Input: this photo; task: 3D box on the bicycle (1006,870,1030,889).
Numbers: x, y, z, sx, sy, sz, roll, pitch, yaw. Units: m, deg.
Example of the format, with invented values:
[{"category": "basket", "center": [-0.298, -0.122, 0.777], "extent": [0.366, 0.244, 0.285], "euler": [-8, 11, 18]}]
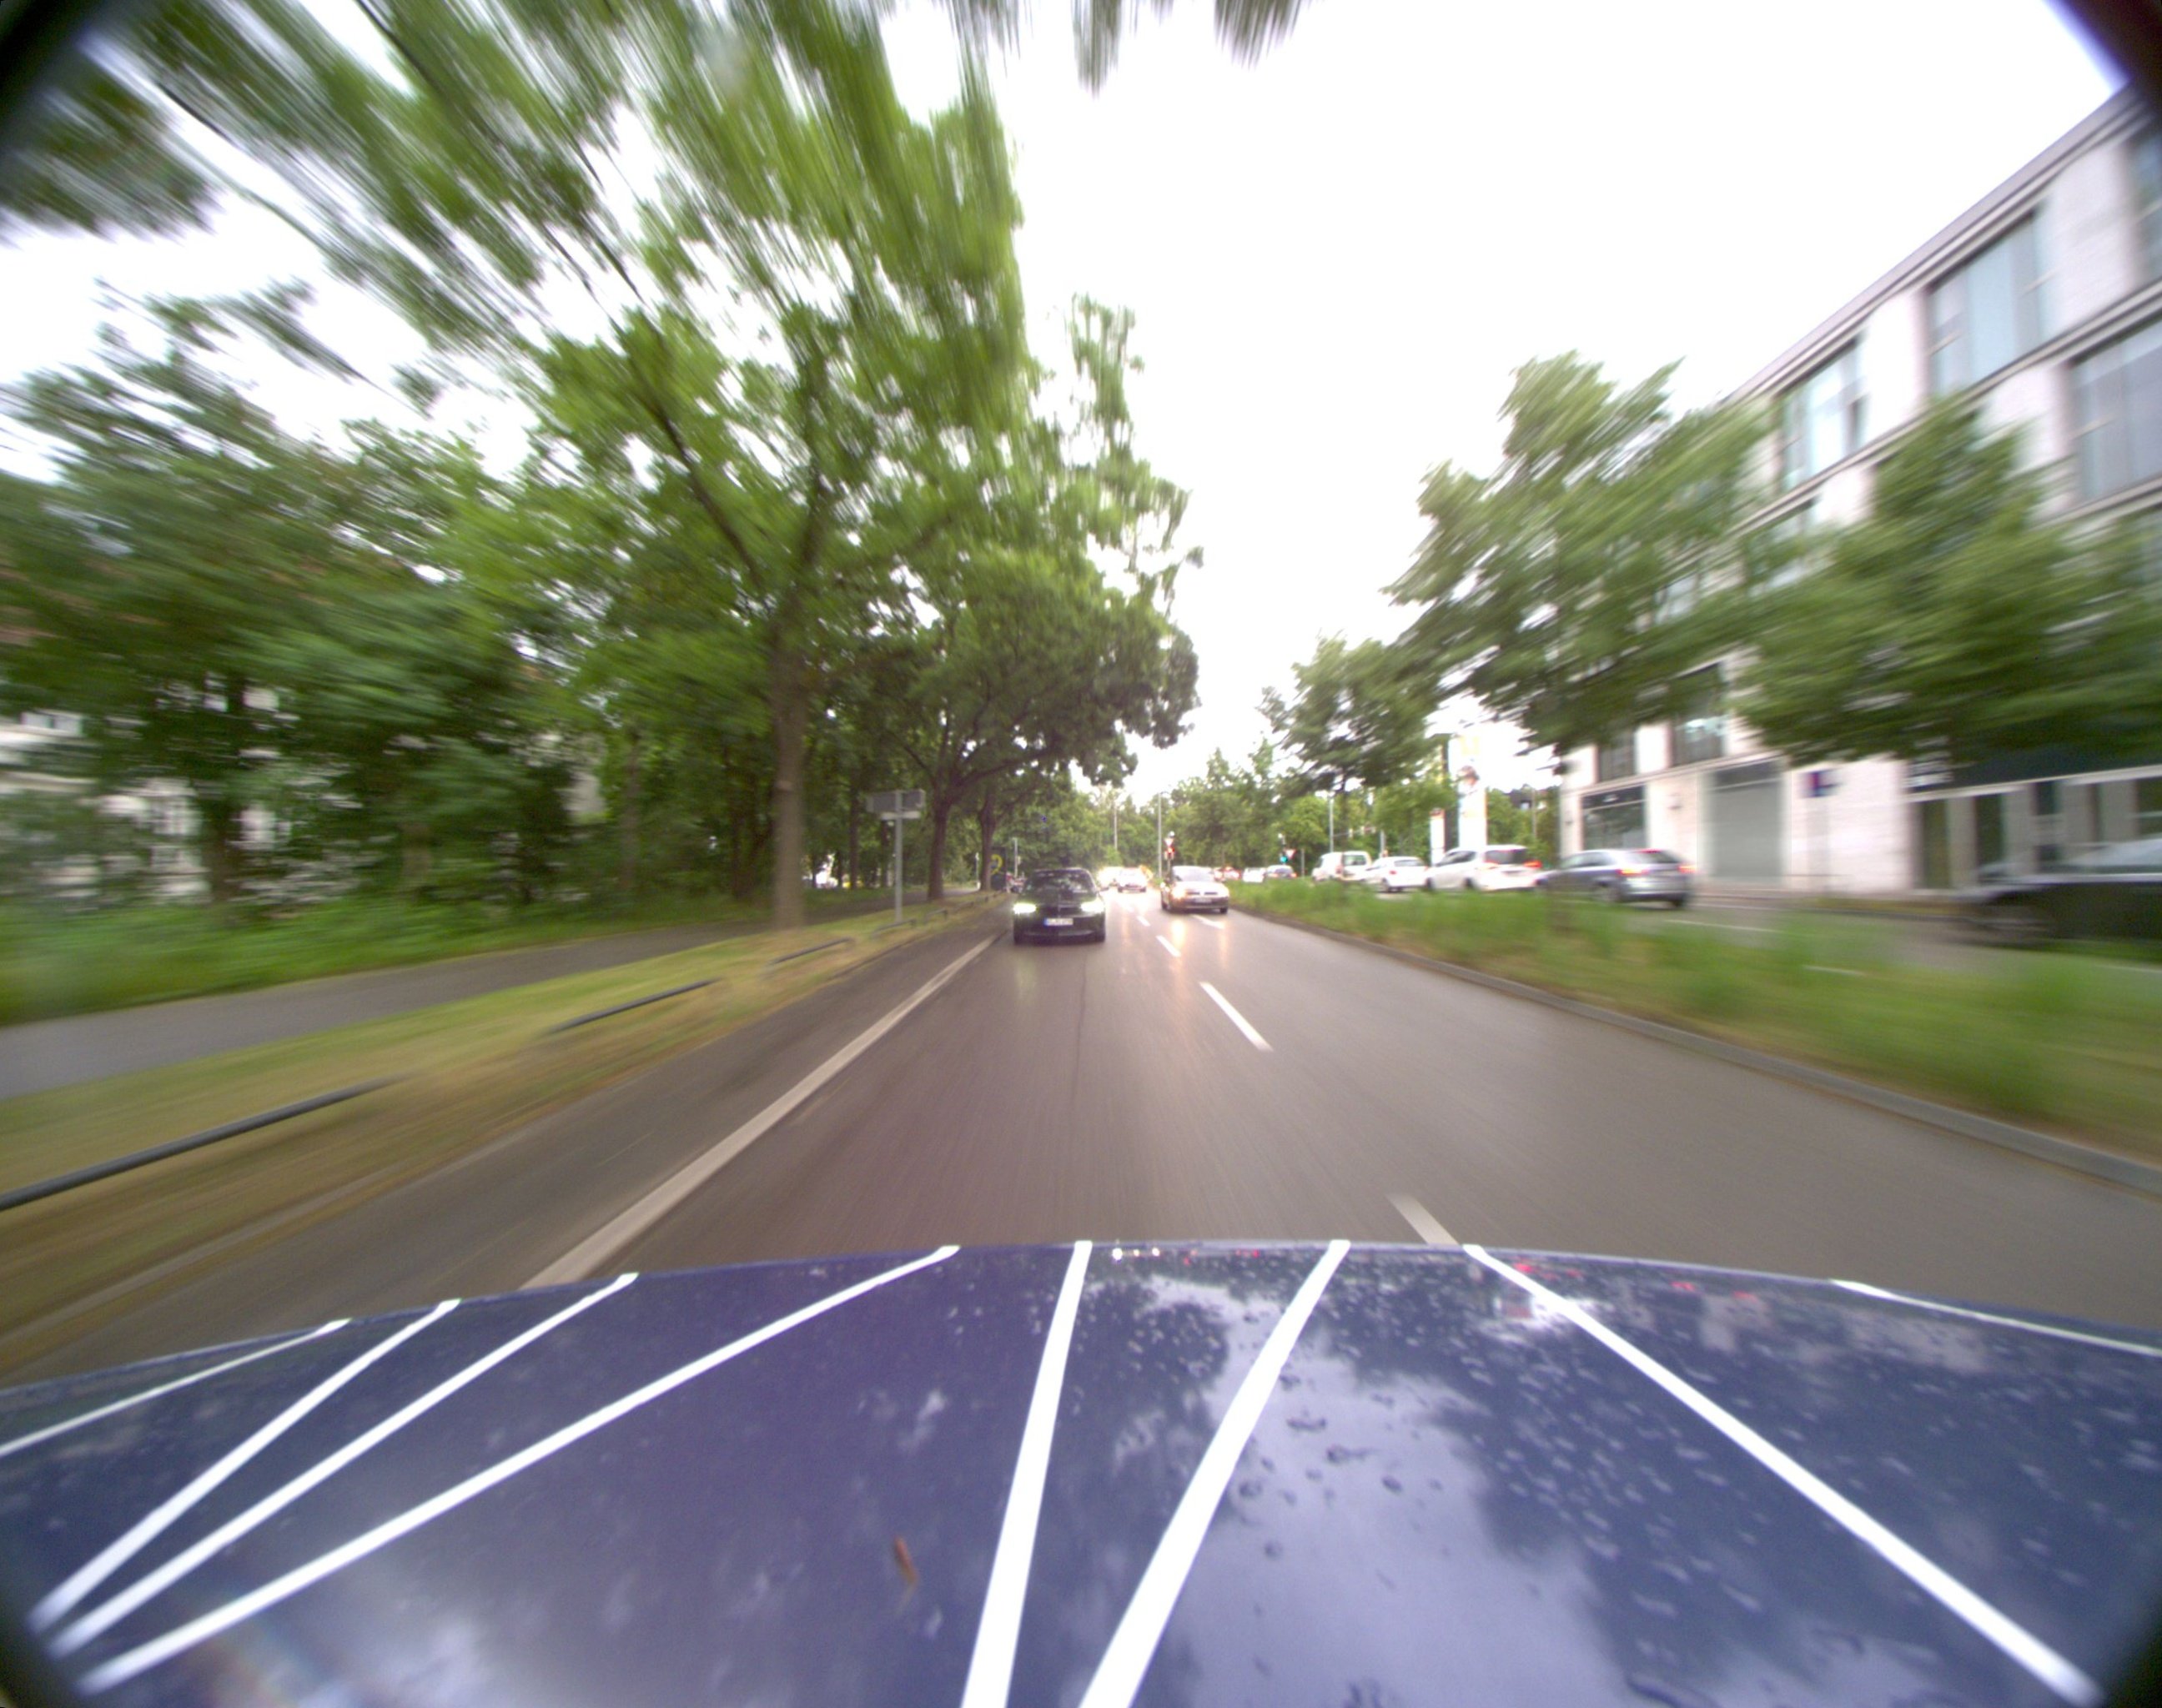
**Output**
[{"category": "bicycle", "center": [-4.072, 1.638, 48.924], "extent": [1.490, 1.124, 0.556], "euler": [2, 0, -6]}]

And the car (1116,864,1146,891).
[{"category": "car", "center": [3.129, 1.465, 46.938], "extent": [1.669, 1.520, 3.660], "euler": [-2, -2, 5]}]

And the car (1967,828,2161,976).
[{"category": "car", "center": [12.352, 0.488, 7.848], "extent": [1.699, 1.572, 4.017], "euler": [-2, 0, 1]}]

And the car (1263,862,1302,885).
[{"category": "car", "center": [13.346, 1.331, 50.550], "extent": [1.718, 1.451, 3.752], "euler": [0, -3, 3]}]

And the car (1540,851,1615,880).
[{"category": "car", "center": [24.457, 0.562, 37.438], "extent": [3.301, 1.368, 1.565], "euler": [0, -2, -25]}]

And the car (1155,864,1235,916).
[{"category": "car", "center": [3.550, 1.089, 24.404], "extent": [1.905, 1.431, 3.999], "euler": [-1, 0, -1]}]

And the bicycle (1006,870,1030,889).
[{"category": "bicycle", "center": [-3.983, 1.583, 47.954], "extent": [1.490, 1.124, 0.556], "euler": [2, 0, -6]}]

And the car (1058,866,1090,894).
[{"category": "car", "center": [-0.432, 1.483, 43.652], "extent": [1.645, 1.511, 3.579], "euler": [-1, -2, -3]}]

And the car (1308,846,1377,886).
[{"category": "car", "center": [12.949, 0.685, 37.984], "extent": [1.848, 1.791, 4.775], "euler": [-2, -3, 1]}]

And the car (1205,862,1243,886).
[{"category": "car", "center": [10.124, 1.453, 54.125], "extent": [1.853, 1.565, 4.167], "euler": [-2, -3, 0]}]

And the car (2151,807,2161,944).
[{"category": "car", "center": [15.252, 0.253, 7.441], "extent": [2.127, 1.805, 5.260], "euler": [-1, 0, 0]}]

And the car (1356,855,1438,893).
[{"category": "car", "center": [12.912, 0.799, 31.320], "extent": [1.748, 1.459, 4.061], "euler": [0, 0, 1]}]

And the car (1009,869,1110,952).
[{"category": "car", "center": [-0.413, 1.072, 16.158], "extent": [1.804, 1.422, 4.520], "euler": [-2, -1, -1]}]

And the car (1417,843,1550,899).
[{"category": "car", "center": [12.687, 0.514, 24.352], "extent": [1.833, 1.591, 4.674], "euler": [-1, 0, 1]}]

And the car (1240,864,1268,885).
[{"category": "car", "center": [14.060, 1.695, 61.916], "extent": [1.654, 1.566, 3.704], "euler": [0, -3, 3]}]

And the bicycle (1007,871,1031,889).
[{"category": "bicycle", "center": [-4.093, 1.700, 49.949], "extent": [1.490, 1.124, 0.556], "euler": [2, 0, -6]}]

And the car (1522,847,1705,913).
[{"category": "car", "center": [12.587, 0.610, 18.313], "extent": [1.645, 1.402, 3.997], "euler": [0, -1, 1]}]

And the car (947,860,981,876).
[{"category": "car", "center": [-15.597, 1.842, 101.274], "extent": [1.995, 2.001, 4.009], "euler": [-3, -2, 45]}]
